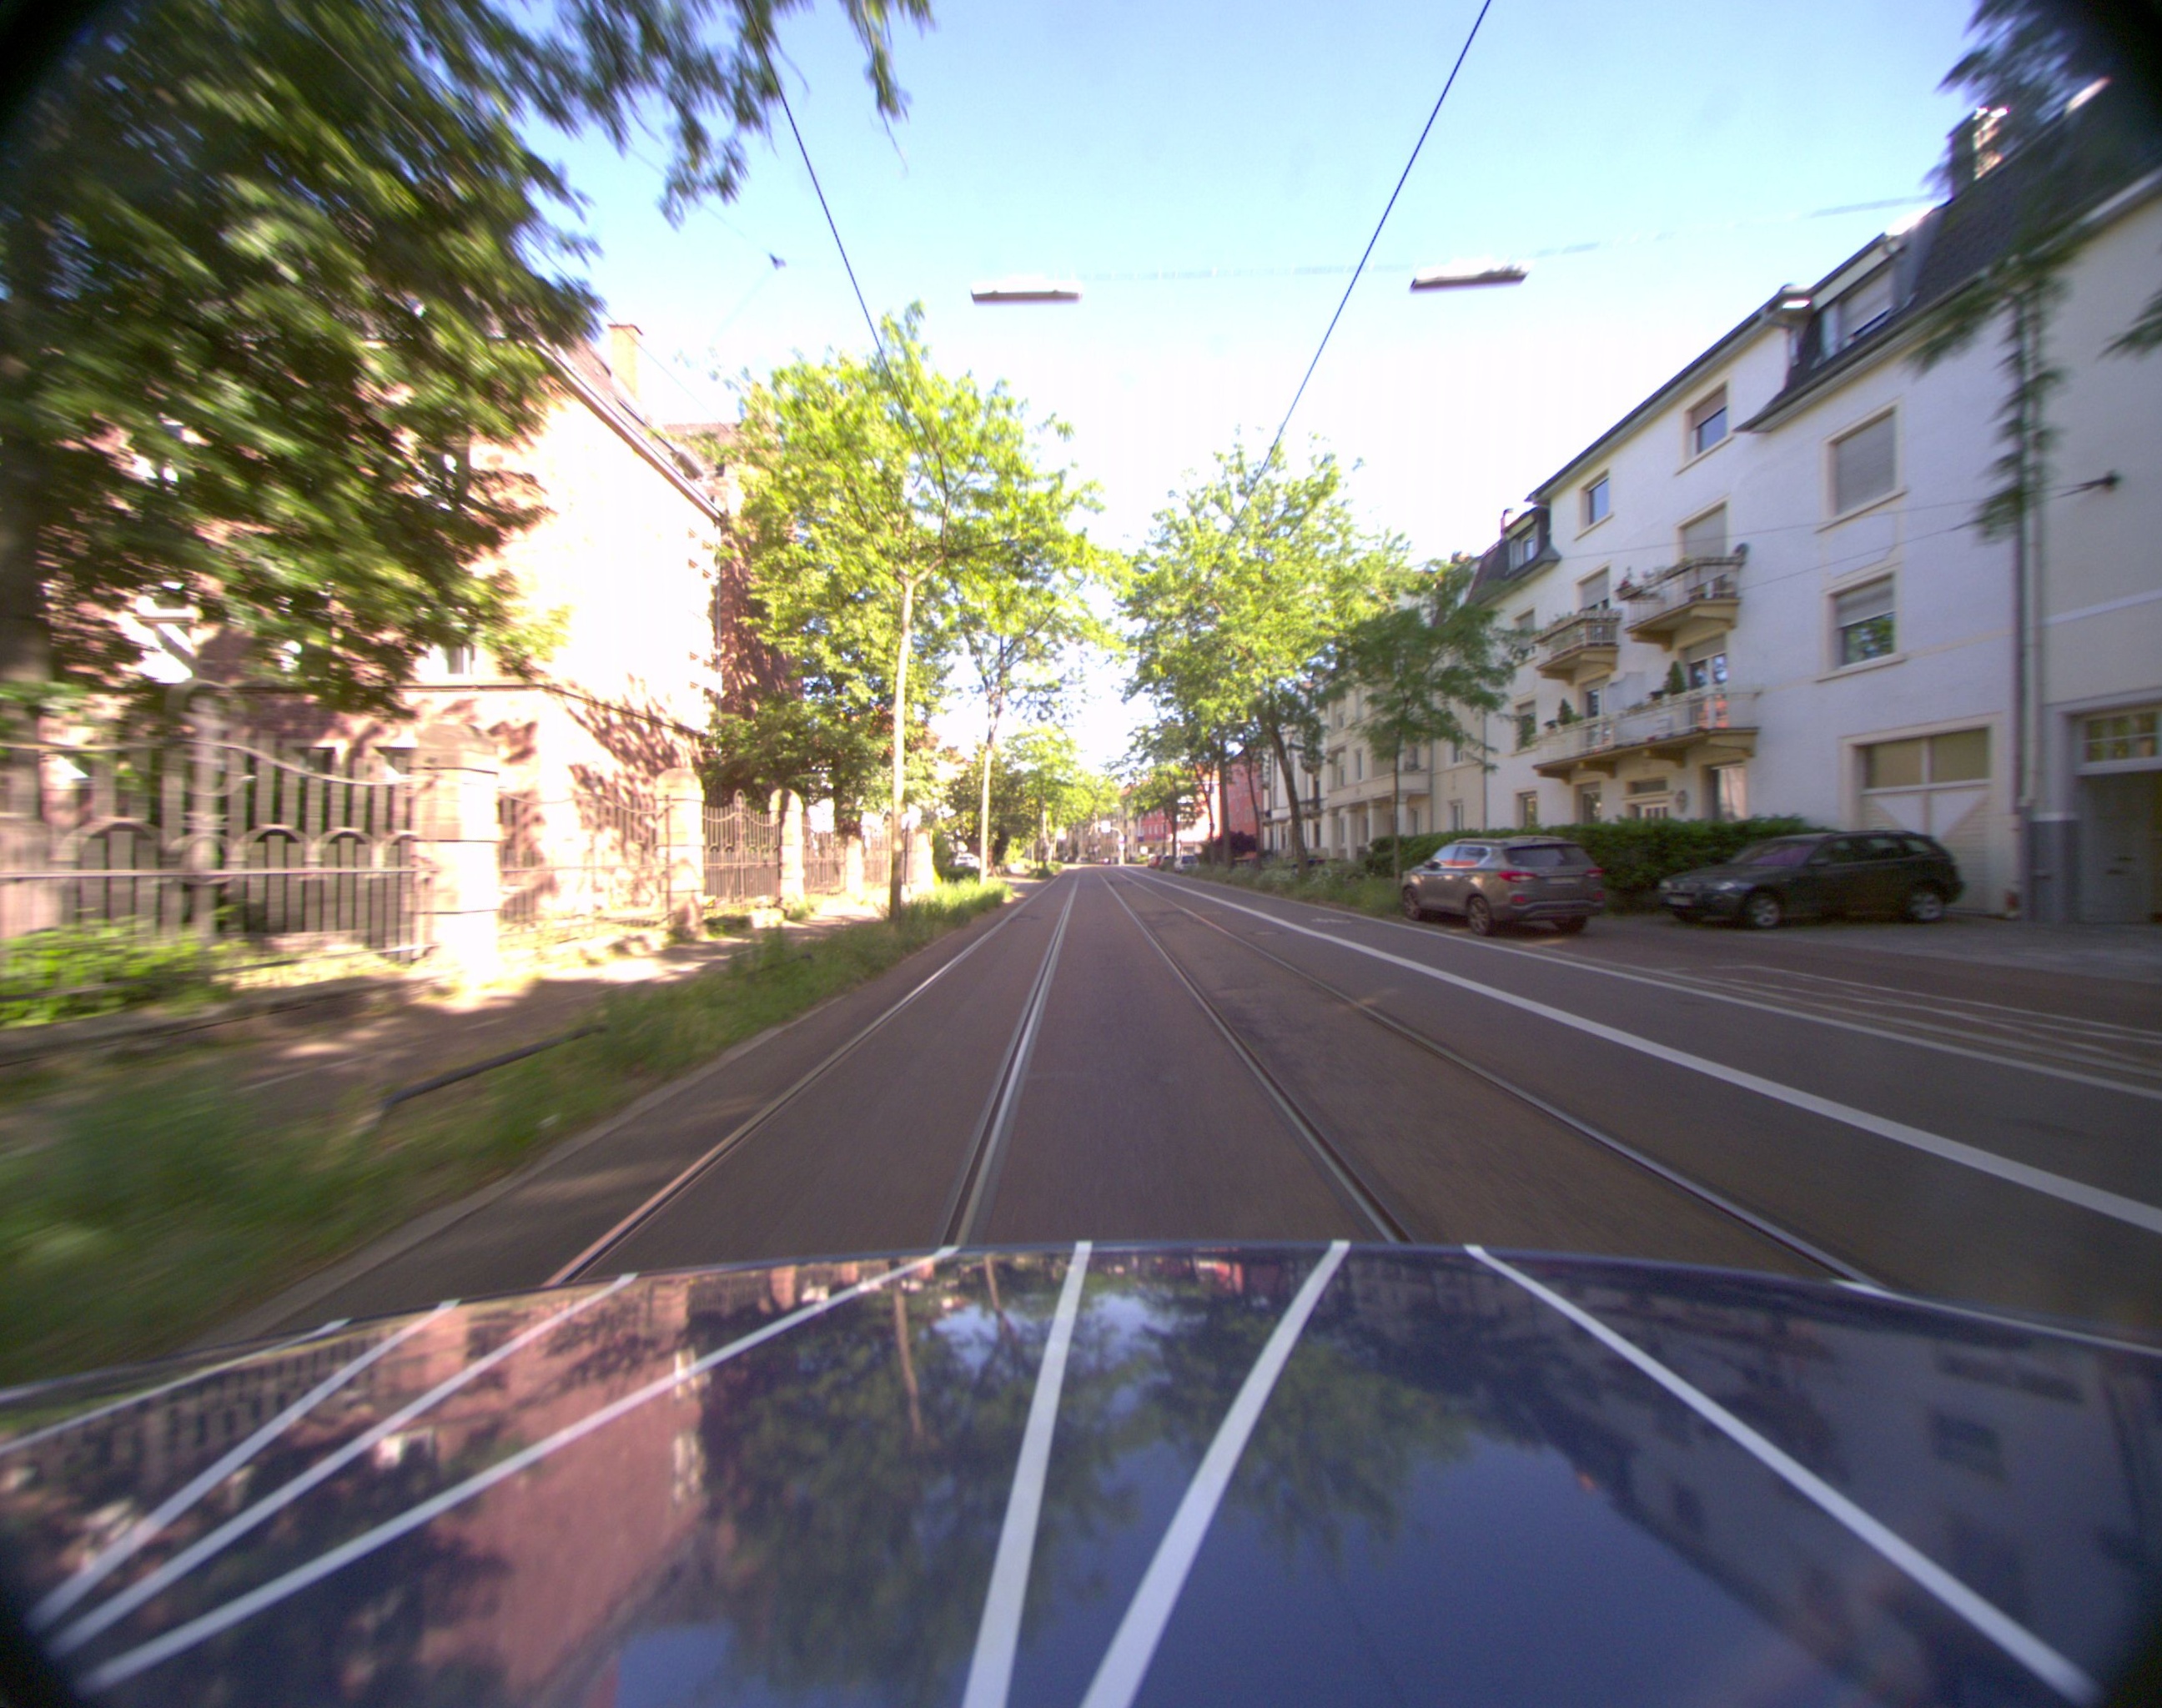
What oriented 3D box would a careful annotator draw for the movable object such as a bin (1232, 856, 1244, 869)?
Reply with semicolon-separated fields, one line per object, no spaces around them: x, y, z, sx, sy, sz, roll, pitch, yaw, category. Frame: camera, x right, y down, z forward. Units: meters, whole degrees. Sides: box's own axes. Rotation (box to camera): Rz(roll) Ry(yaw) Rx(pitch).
12.679;0.672;61.427;0.739;1.035;0.895;-1;1;0;movable object such as a bin

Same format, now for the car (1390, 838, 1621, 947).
8.220;0.651;15.361;1.875;1.812;4.770;-2;0;-1;car

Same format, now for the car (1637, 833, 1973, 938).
13.296;0.543;14.192;4.311;1.651;1.953;-2;0;2;car

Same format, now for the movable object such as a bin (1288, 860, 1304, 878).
11.887;0.822;42.045;0.629;0.916;0.740;-2;1;1;movable object such as a bin

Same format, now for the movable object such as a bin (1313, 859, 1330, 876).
13.230;0.740;41.809;0.629;0.916;0.740;-2;1;1;movable object such as a bin

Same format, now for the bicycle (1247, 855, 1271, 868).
13.417;0.547;57.250;1.865;0.991;0.557;-1;1;-28;bicycle

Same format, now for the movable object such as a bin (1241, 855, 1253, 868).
13.434;0.634;61.410;0.739;1.048;0.895;-1;1;0;movable object such as a bin

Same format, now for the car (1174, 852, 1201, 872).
8.866;0.653;63.443;1.629;1.526;3.689;-2;0;-1;car

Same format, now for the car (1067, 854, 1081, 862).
-1.385;0.858;145.162;1.880;1.390;3.996;-4;0;-11;car

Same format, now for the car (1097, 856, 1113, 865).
3.936;1.024;125.379;1.880;1.390;3.996;-4;0;-11;car

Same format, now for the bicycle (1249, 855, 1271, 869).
12.962;0.572;55.009;1.866;0.991;0.557;-1;1;-43;bicycle

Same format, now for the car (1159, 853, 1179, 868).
8.681;0.604;75.177;1.558;1.446;3.668;-2;0;0;car

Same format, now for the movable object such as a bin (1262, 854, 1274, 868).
15.124;0.566;61.420;0.739;1.107;0.895;-1;1;0;movable object such as a bin

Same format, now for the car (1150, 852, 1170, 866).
8.754;0.579;84.141;1.577;1.446;4.095;-2;0;-2;car

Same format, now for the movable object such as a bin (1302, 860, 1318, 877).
12.586;0.779;41.843;0.629;0.916;0.740;-2;1;1;movable object such as a bin

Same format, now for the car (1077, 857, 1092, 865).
0.617;1.279;137.456;1.880;1.390;3.996;-4;0;-11;car
